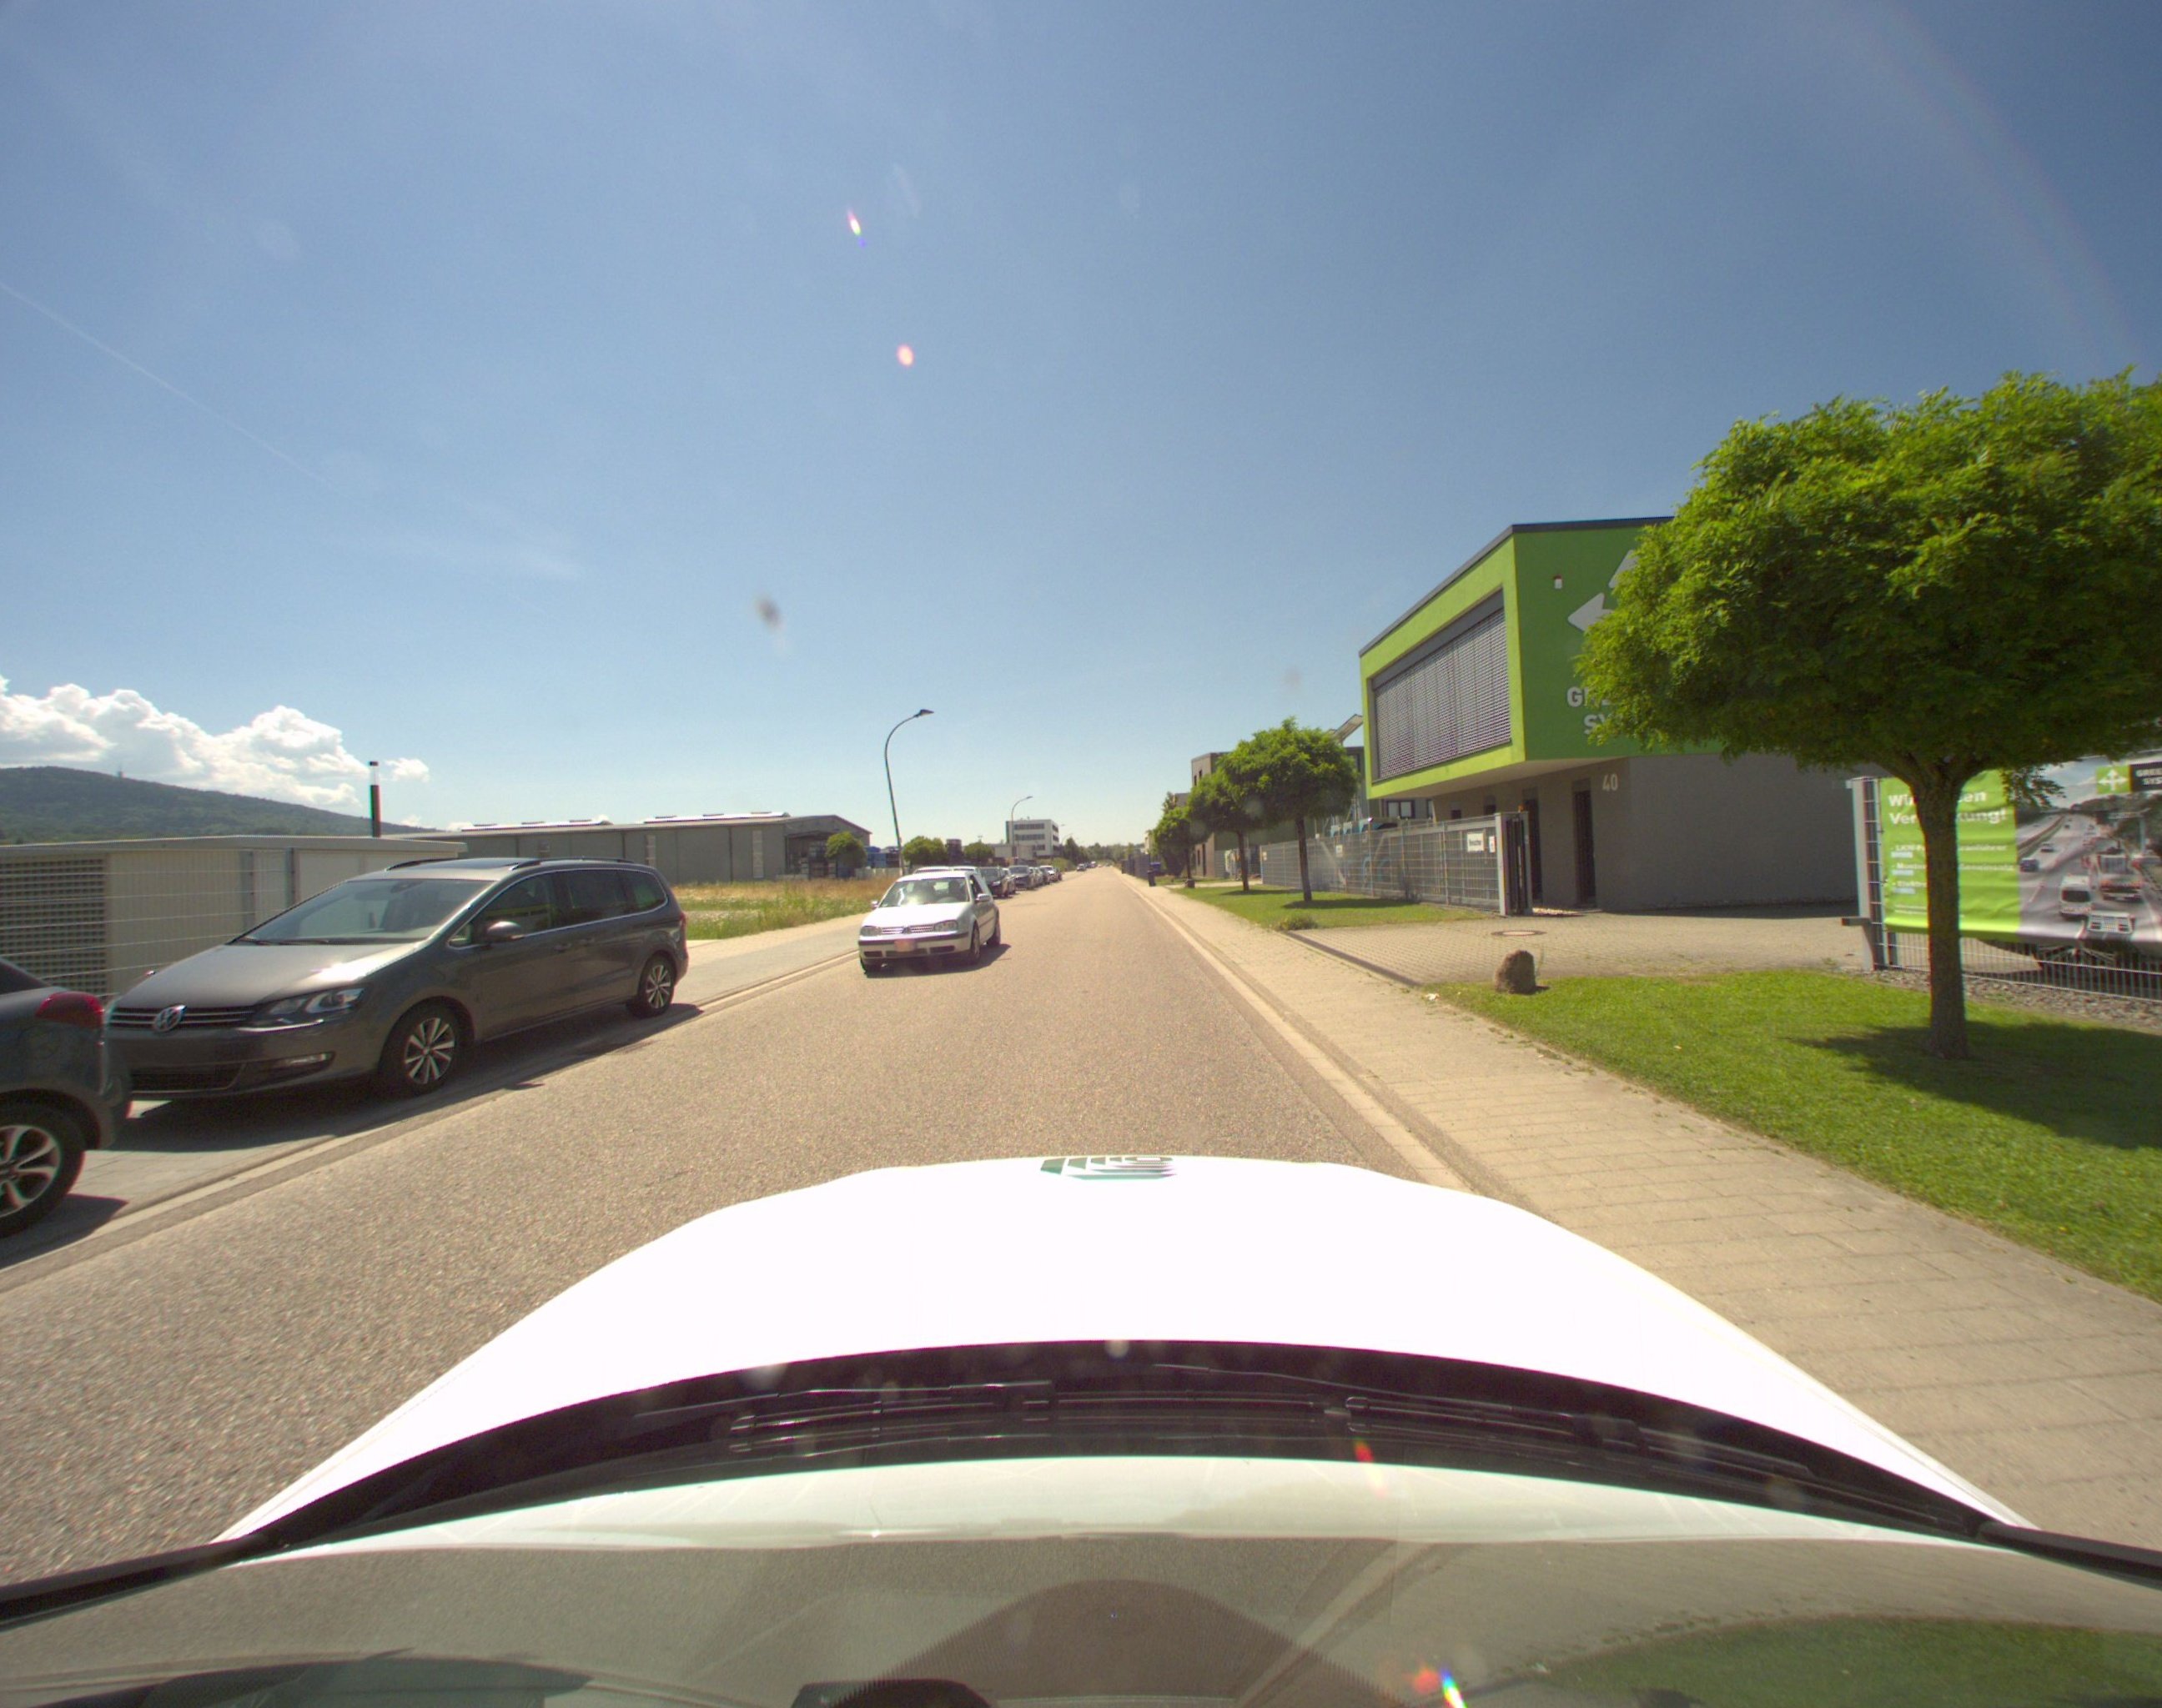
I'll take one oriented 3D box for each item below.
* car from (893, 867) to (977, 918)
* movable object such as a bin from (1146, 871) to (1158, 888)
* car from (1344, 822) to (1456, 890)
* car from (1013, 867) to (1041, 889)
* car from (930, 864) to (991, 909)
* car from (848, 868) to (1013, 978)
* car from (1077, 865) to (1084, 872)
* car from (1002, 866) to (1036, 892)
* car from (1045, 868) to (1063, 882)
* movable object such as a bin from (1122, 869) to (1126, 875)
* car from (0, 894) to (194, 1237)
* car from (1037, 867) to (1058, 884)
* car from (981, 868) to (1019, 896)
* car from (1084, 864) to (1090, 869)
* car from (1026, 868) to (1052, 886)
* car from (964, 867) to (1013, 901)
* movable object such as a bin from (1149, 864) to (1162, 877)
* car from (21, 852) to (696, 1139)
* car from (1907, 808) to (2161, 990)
[{"bbox_3d":[-4.836,1.224,27.589,1.779,1.542,4.368,-2,-1,3],"label":"car"},{"bbox_3d":[4.178,1.505,48.114,0.549,0.928,0.523,-6,-2,11],"label":"movable object such as a bin"},{"bbox_3d":[13.628,0.118,35.386,2.121,2.494,7.027,-4,-1,2],"label":"car"},{"bbox_3d":[-3.893,1.748,59.508,1.688,1.525,3.735,-1,-1,1],"label":"car"},{"bbox_3d":[-4.776,1.273,32.748,1.781,1.656,3.768,-1,-1,1],"label":"car"},{"bbox_3d":[-2.339,1.015,13.940,1.698,1.411,4.785,-4,-1,2],"label":"car"},{"bbox_3d":[-0.120,3.297,184.560,1.461,1.490,3.208,-2,-1,2],"label":"car"},{"bbox_3d":[-3.979,1.598,53.225,1.784,1.607,4.463,-1,-1,1],"label":"car"},{"bbox_3d":[-2.950,2.344,89.779,1.762,1.461,4.334,-1,-1,2],"label":"car"},{"bbox_3d":[7.161,3.085,136.376,0.549,0.928,0.522,-7,0,6],"label":"movable object such as a bin"},{"bbox_3d":[-5.704,0.962,2.444,1.628,1.500,3.974,-1,-1,3],"label":"car"},{"bbox_3d":[-3.215,2.062,78.611,1.763,1.592,4.359,-1,-1,1],"label":"car"},{"bbox_3d":[-4.484,1.556,45.616,1.758,1.451,4.198,-1,-1,-1],"label":"car"},{"bbox_3d":[1.710,3.768,239.533,1.638,1.490,3.208,-2,-1,2],"label":"car"},{"bbox_3d":[-3.599,1.962,69.913,1.850,1.481,4.230,-1,-1,2],"label":"car"},{"bbox_3d":[-4.474,1.430,39.929,1.757,1.517,4.381,-1,-1,1],"label":"car"},{"bbox_3d":[8.646,1.928,94.600,1.329,1.459,0.949,-3,-1,1],"label":"movable object such as a bin"},{"bbox_3d":[-5.506,0.884,7.278,1.796,1.719,4.624,-1,-1,2],"label":"car"},{"bbox_3d":[9.161,0.313,6.146,1.732,1.398,4.055,-2,-2,1],"label":"car"}]
